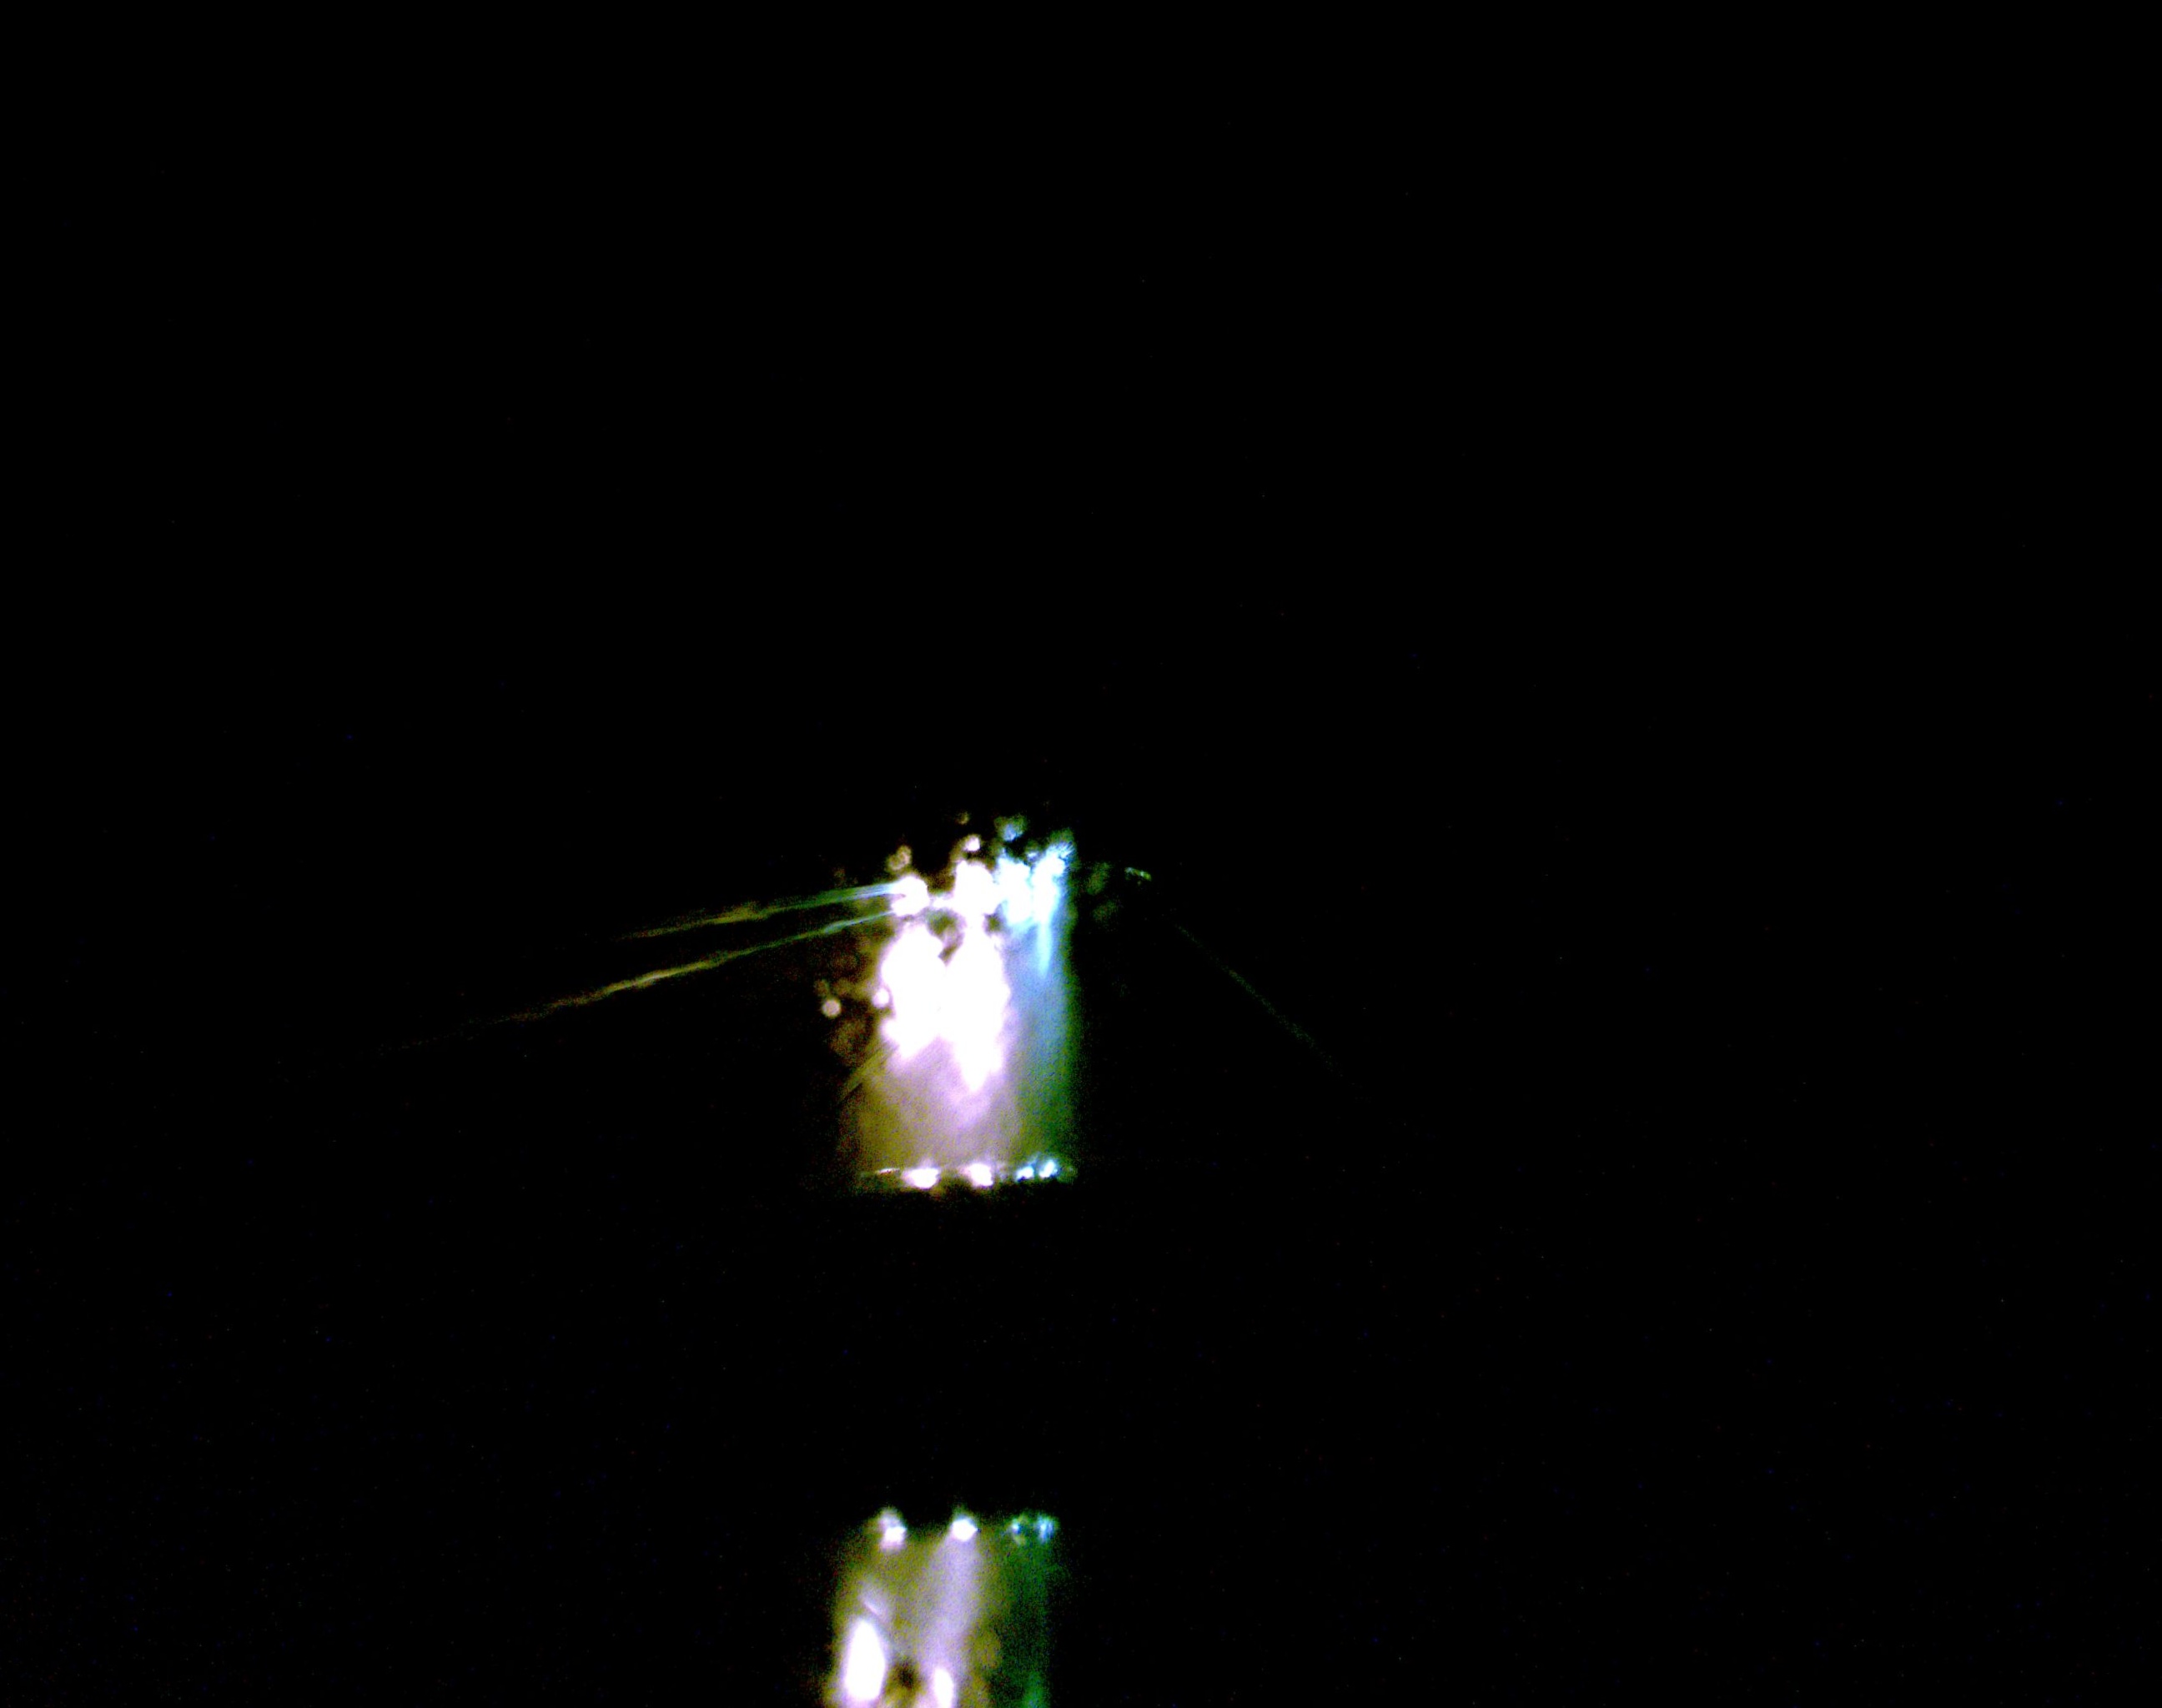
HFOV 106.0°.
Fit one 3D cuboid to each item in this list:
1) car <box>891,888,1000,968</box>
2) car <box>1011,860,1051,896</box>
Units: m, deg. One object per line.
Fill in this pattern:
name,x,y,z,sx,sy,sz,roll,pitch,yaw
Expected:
car,-3.268,1.757,20.517,1.919,1.574,4.349,-1,1,1
car,-3.019,1.381,48.524,1.993,2.013,3.988,-1,1,-9
